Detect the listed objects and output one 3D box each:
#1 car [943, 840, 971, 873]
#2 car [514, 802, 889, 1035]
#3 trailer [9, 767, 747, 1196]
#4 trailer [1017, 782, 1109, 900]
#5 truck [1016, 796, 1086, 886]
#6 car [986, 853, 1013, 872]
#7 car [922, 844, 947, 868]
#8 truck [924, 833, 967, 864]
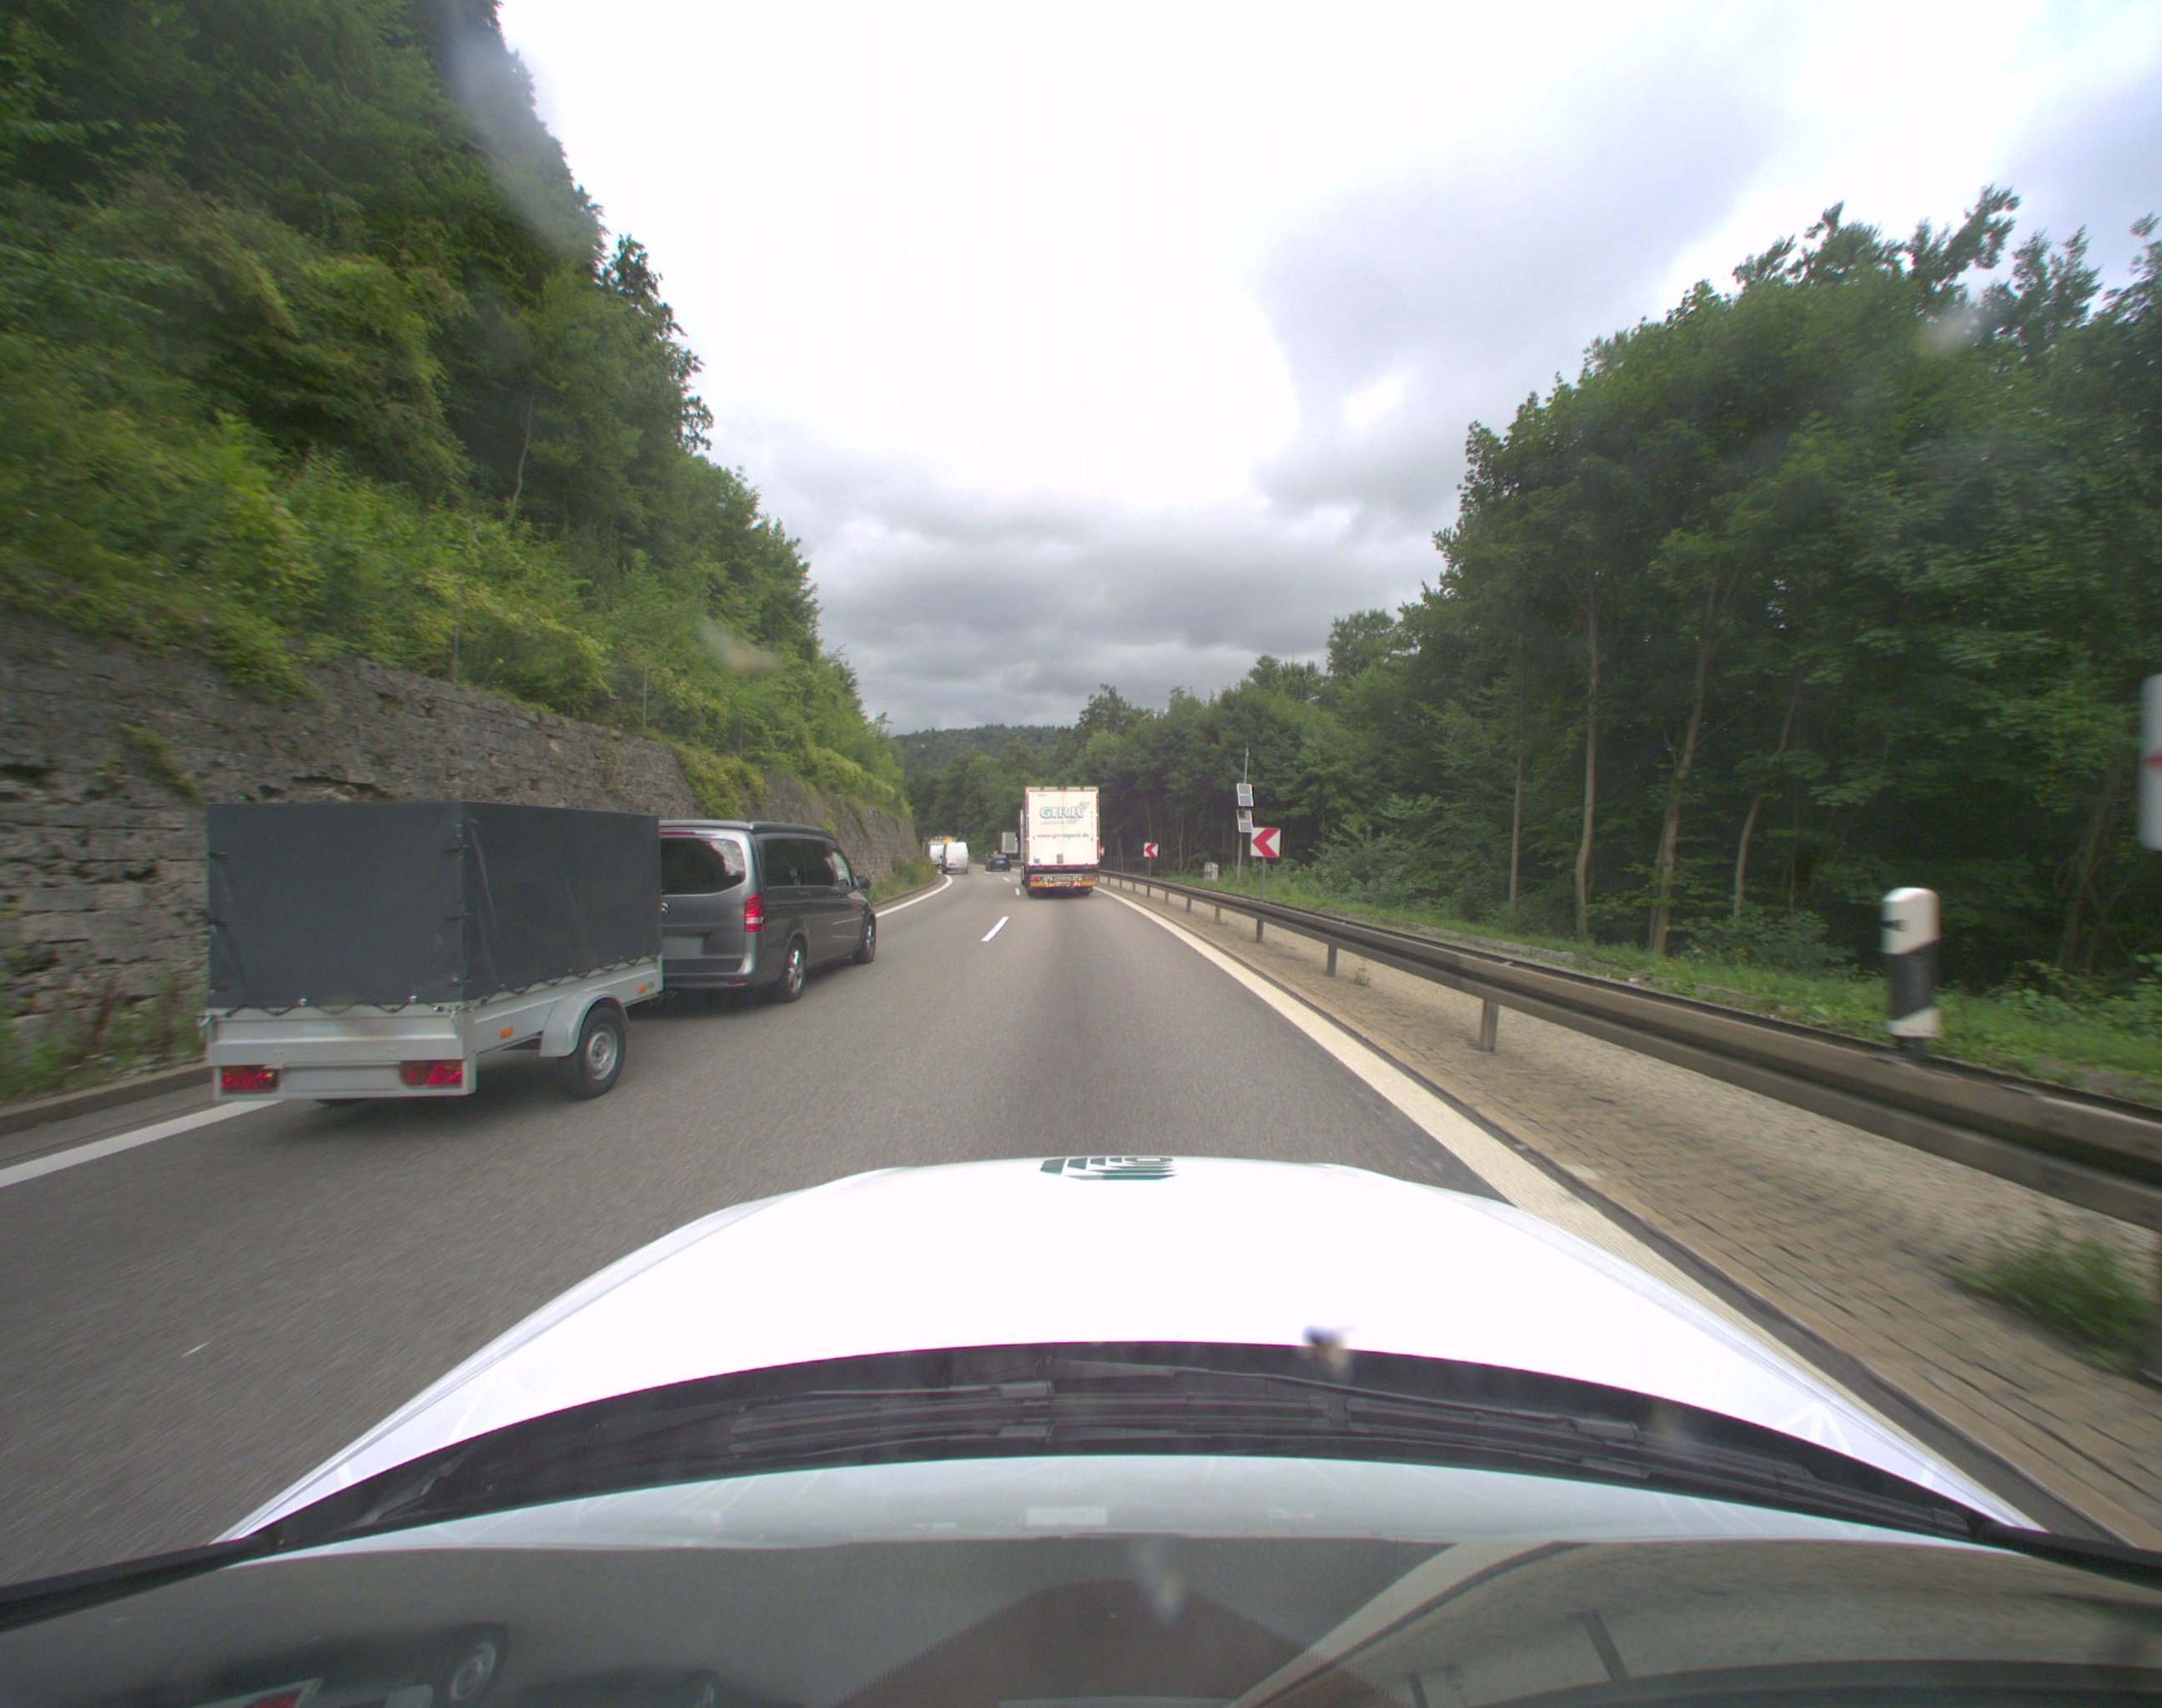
[{"bbox_3d":[-10.722,0.222,70.097,1.990,2.672,6.907,1,0,-12],"label":"car"},{"bbox_3d":[-3.976,0.558,9.909,1.988,2.013,5.538,-1,0,-1],"label":"car"},{"bbox_3d":[-3.933,0.578,5.471,1.965,1.939,3.429,-1,0,-1],"label":"trailer"},{"bbox_3d":[-1.086,-0.575,34.159,3.052,3.985,12.117,2,1,-5],"label":"trailer"},{"bbox_3d":[-1.621,-0.657,40.553,3.052,3.985,7.176,2,1,-5],"label":"truck"},{"bbox_3d":[-7.687,0.773,76.424,1.996,1.662,3.982,1,0,-13],"label":"car"},{"bbox_3d":[-16.748,0.217,93.031,1.945,2.672,5.954,1,0,-18],"label":"car"},{"bbox_3d":[-19.080,-0.784,113.807,3.070,3.986,13.598,-2,1,-22],"label":"truck"}]
